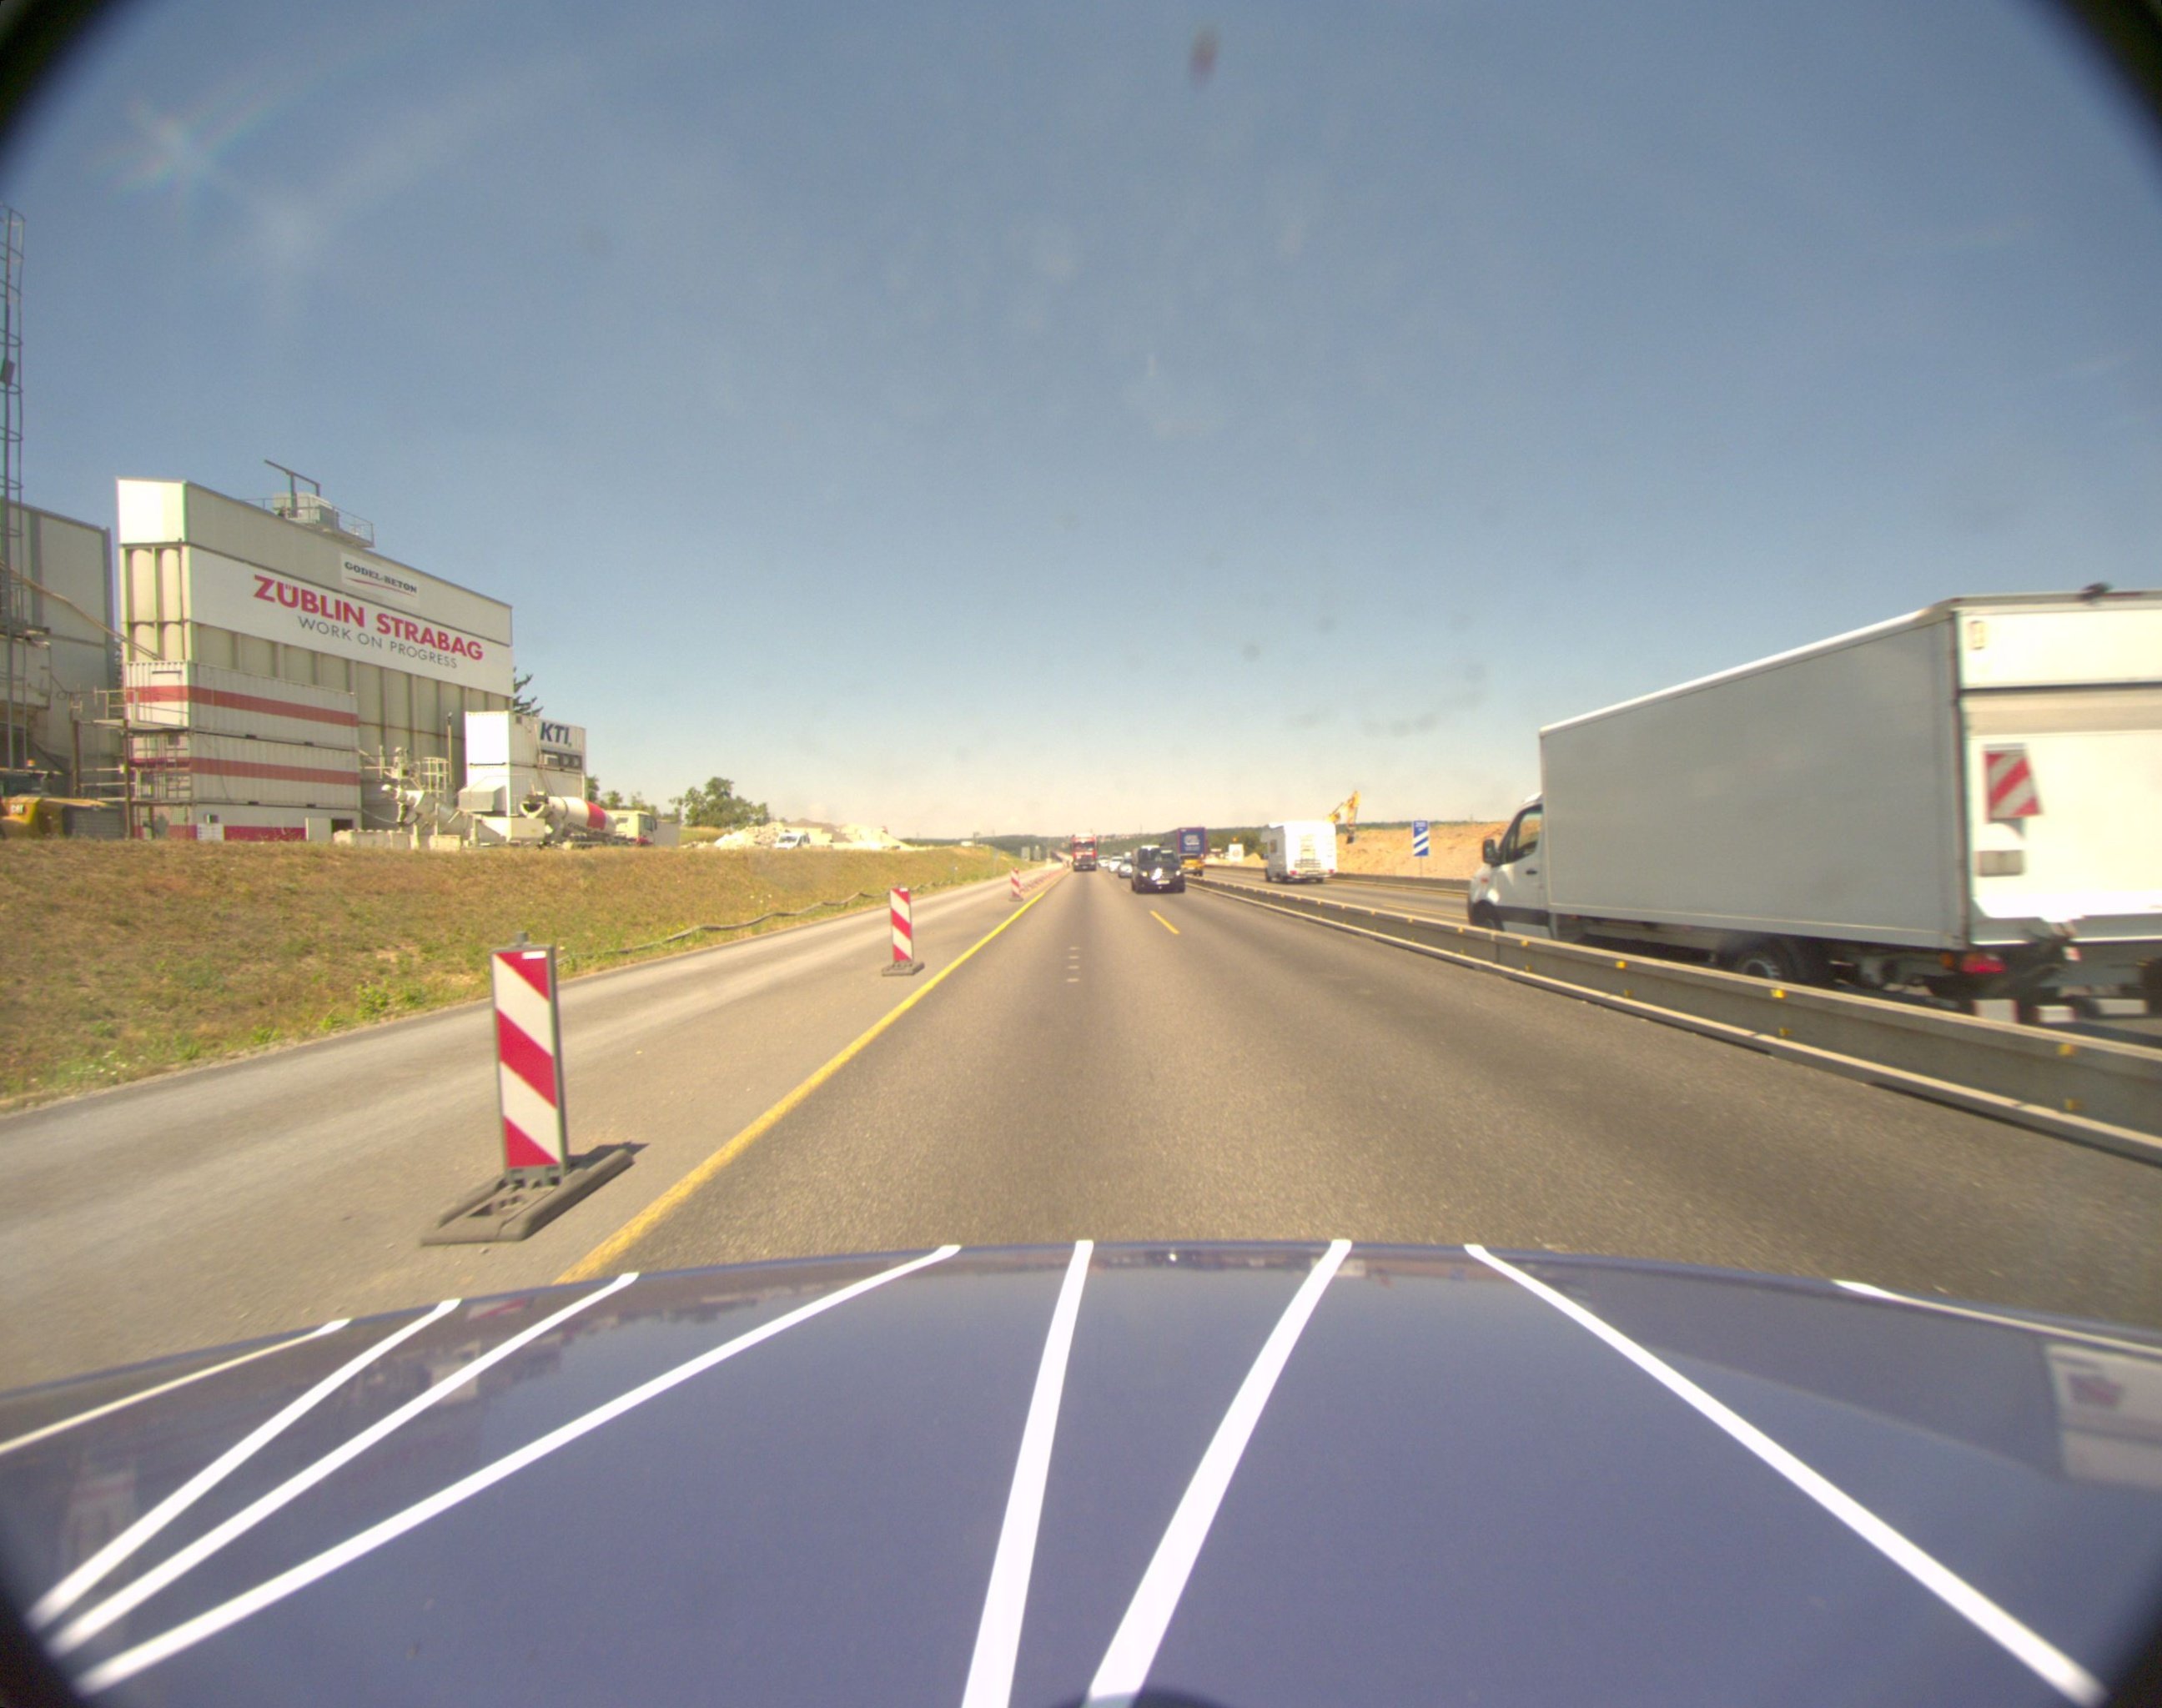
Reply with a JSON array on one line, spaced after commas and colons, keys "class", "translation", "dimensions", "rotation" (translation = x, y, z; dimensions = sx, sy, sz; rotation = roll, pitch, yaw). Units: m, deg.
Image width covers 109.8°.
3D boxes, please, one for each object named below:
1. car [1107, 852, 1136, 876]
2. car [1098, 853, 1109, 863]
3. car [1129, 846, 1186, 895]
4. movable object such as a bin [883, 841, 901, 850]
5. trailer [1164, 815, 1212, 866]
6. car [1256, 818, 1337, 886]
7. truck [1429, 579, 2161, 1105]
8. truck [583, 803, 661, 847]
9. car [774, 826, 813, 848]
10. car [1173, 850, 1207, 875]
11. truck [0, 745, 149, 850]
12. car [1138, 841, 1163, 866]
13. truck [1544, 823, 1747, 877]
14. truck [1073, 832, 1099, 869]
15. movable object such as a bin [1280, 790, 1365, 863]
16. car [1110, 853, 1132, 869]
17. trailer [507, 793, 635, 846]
[{"class": "car", "translation": [2.811, 0.695, 53.272], "dimensions": [1.804, 1.499, 4.100], "rotation": [-2, 0, 0]}, {"class": "car", "translation": [3.471, 0.564, 116.123], "dimensions": [1.601, 1.390, 3.695], "rotation": [-2, 1, 1]}, {"class": "car", "translation": [3.138, 0.603, 32.196], "dimensions": [1.879, 1.840, 5.478], "rotation": [-2, 1, 1]}, {"class": "movable object such as a bin", "translation": [-15.675, -0.689, 63.140], "dimensions": [0.838, 0.678, 2.249], "rotation": [-2, 1, 1]}, {"class": "trailer", "translation": [10.653, -1.336, 76.849], "dimensions": [2.993, 4.569, 12.882], "rotation": [-2, 1, 1]}, {"class": "car", "translation": [10.359, -0.117, 37.028], "dimensions": [2.257, 2.938, 5.848], "rotation": [-2, 1, 1]}, {"class": "truck", "translation": [6.635, -0.124, 8.242], "dimensions": [2.277, 3.131, 7.312], "rotation": [-2, 1, 0]}, {"class": "truck", "translation": [-27.948, -1.717, 46.446], "dimensions": [2.021, 2.530, 4.041], "rotation": [-2, 1, 4]}, {"class": "car", "translation": [-25.314, -1.478, 67.092], "dimensions": [1.990, 1.752, 3.601], "rotation": [-2, 1, 0]}, {"class": "car", "translation": [7.451, 0.560, 52.222], "dimensions": [1.766, 1.565, 4.362], "rotation": [-2, 0, 2]}, {"class": "truck", "translation": [-34.905, -1.594, 23.868], "dimensions": [9.090, 2.852, 2.460], "rotation": [-2, 1, 6]}, {"class": "car", "translation": [7.173, -0.020, 78.761], "dimensions": [2.040, 2.329, 6.196], "rotation": [-2, 0, 1]}, {"class": "truck", "translation": [25.199, -0.215, 34.713], "dimensions": [2.568, 2.046, 8.802], "rotation": [-2, 1, -1]}, {"class": "truck", "translation": [0.611, -0.398, 84.701], "dimensions": [2.537, 3.798, 9.481], "rotation": [-2, 1, 1]}, {"class": "movable object such as a bin", "translation": [25.125, -2.834, 79.365], "dimensions": [7.378, 7.073, 4.081], "rotation": [-2, 1, 0]}, {"class": "car", "translation": [3.809, 0.650, 72.642], "dimensions": [1.875, 1.390, 4.030], "rotation": [-2, 1, 1]}, {"class": "trailer", "translation": [-28.253, -1.820, 42.492], "dimensions": [1.998, 2.629, 6.937], "rotation": [-2, 1, 4]}]
